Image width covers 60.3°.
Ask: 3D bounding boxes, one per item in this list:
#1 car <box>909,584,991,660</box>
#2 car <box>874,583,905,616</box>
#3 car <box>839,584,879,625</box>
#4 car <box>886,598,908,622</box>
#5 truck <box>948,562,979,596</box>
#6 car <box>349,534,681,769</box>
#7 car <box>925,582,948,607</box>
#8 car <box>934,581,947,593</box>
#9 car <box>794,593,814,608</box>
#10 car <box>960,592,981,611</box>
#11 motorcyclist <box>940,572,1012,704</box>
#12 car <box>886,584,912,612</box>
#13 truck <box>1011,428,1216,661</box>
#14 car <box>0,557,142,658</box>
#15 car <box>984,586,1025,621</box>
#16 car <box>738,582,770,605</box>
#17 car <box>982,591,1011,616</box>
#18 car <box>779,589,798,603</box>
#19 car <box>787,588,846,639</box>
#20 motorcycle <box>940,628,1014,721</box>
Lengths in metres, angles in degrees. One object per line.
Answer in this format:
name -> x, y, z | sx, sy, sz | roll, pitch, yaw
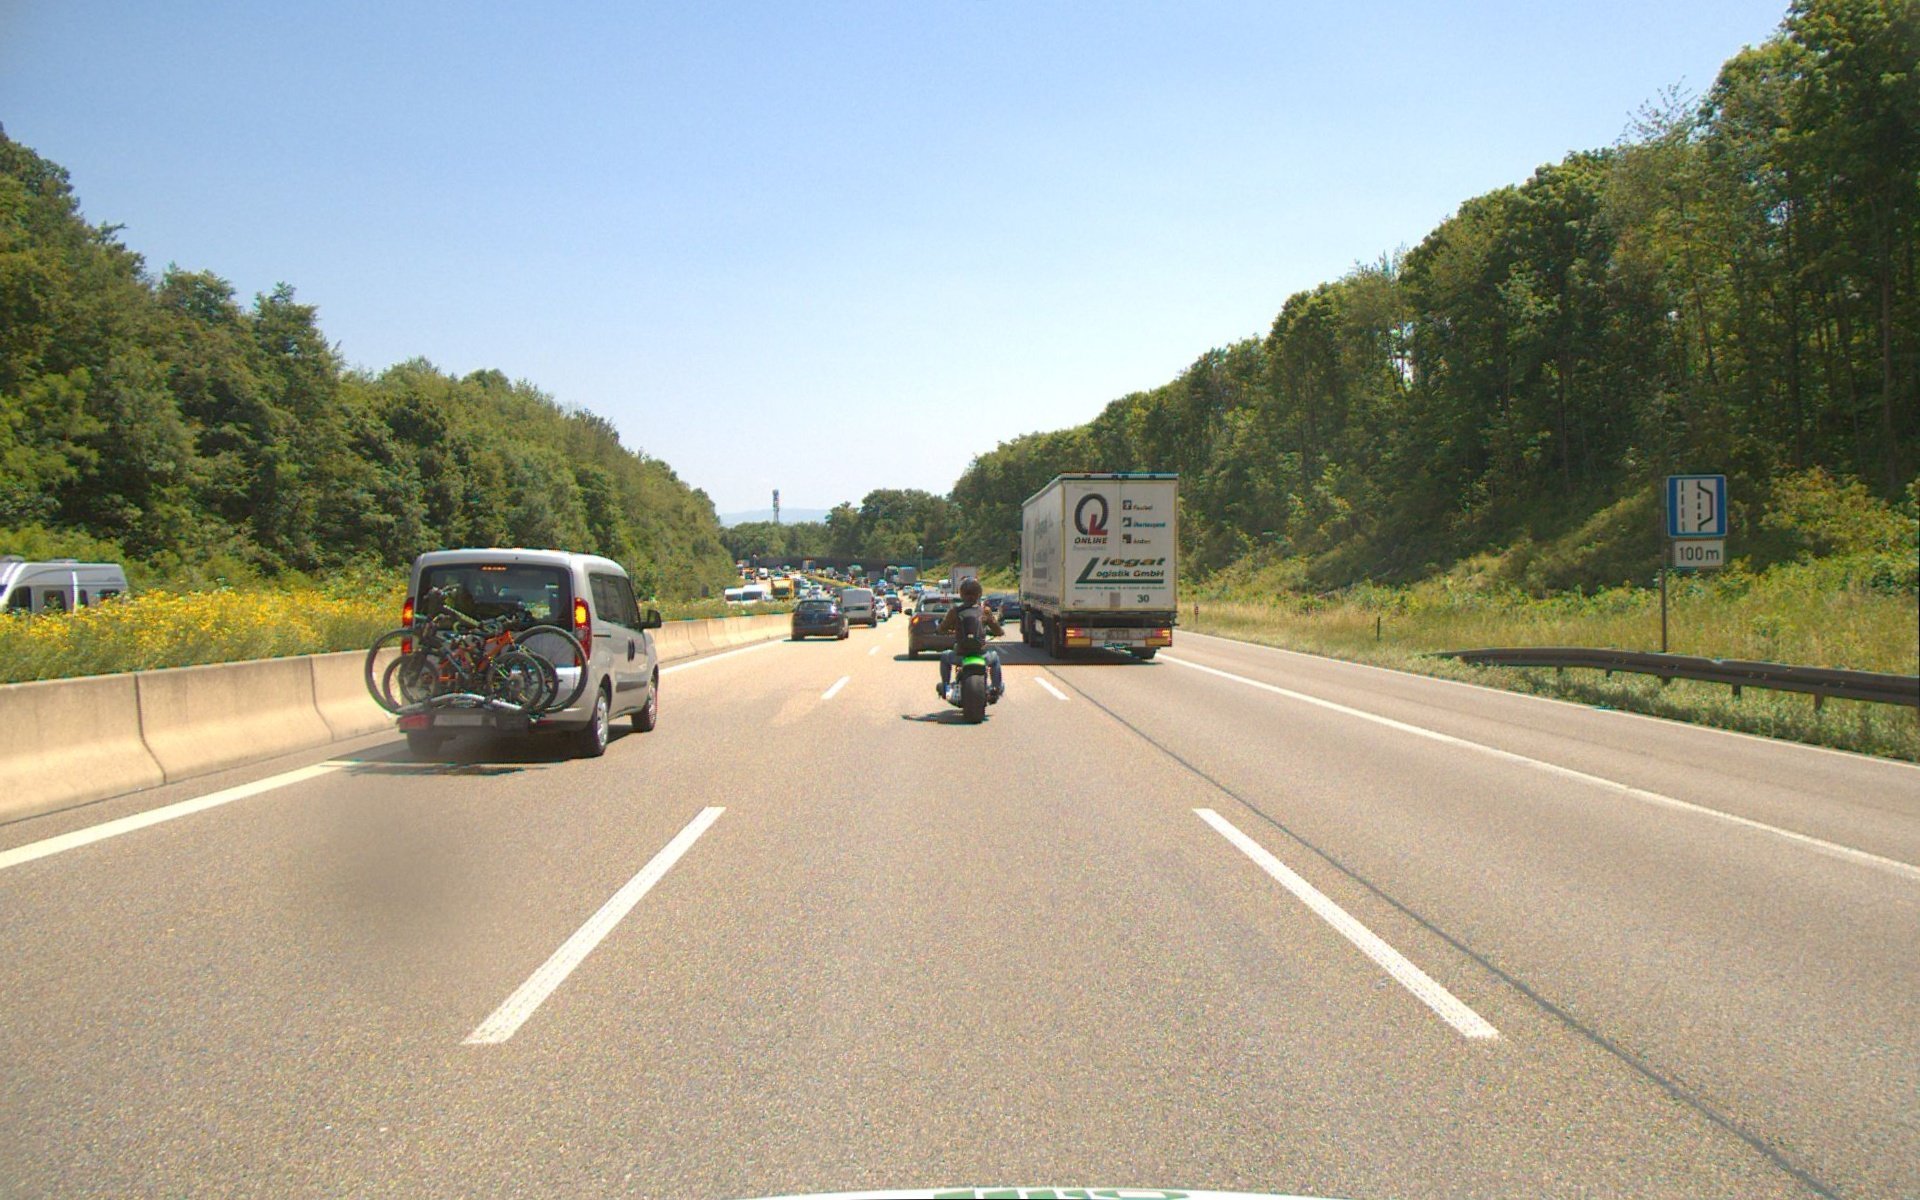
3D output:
car -> -0.270, 0.465, 38.992 | 1.808, 1.584, 4.439 | 1, 2, -2
car -> -4.301, -0.060, 101.112 | 1.794, 1.842, 4.119 | 1, 2, -2
car -> -4.916, 0.178, 80.636 | 1.794, 1.842, 4.119 | 1, 2, -2
car -> -5.300, 0.816, 140.114 | 1.794, 1.842, 4.119 | 1, 2, -2
truck -> 0.323, -2.296, 176.396 | 3.005, 3.404, 9.651 | 2, 1, -1
car -> -4.060, 0.413, 16.115 | 1.860, 1.880, 5.481 | 1, 0, -1
car -> -1.897, -0.455, 132.362 | 1.794, 1.842, 4.119 | 1, 2, -2
car -> -2.747, -1.781, 230.607 | 1.794, 1.585, 4.119 | 1, 2, -2
car -> -18.822, 0.035, 199.737 | 1.872, 1.719, 4.831 | 2, 0, 0
car -> 0.949, 0.132, 154.633 | 1.794, 1.585, 4.119 | 1, 2, -2
motorcyclist -> 0.188, 0.440, 19.783 | 0.838, 1.541, 0.914 | 0, 1, 0
car -> -4.299, -0.185, 117.248 | 1.794, 1.842, 4.119 | 1, 2, -2
truck -> 3.494, -1.364, 43.575 | 3.315, 4.800, 17.706 | 1, 1, -1
car -> -18.463, 0.126, 32.462 | 2.003, 1.839, 5.506 | 2, 0, 0
car -> 2.199, 0.170, 82.448 | 1.794, 1.585, 4.119 | 1, 2, -2
car -> -16.376, -0.497, 131.881 | 1.872, 1.719, 4.831 | 2, 0, 0
car -> 2.454, 0.220, 112.349 | 1.794, 1.585, 4.119 | 1, 2, -2
car -> -22.627, -0.492, 218.371 | 1.872, 1.719, 4.831 | 2, 0, 0
car -> -4.857, 0.424, 56.423 | 1.722, 1.570, 4.394 | 1, 2, -2
motorcycle -> 0.187, 0.870, 19.950 | 0.844, 0.999, 2.130 | 0, 1, 0
